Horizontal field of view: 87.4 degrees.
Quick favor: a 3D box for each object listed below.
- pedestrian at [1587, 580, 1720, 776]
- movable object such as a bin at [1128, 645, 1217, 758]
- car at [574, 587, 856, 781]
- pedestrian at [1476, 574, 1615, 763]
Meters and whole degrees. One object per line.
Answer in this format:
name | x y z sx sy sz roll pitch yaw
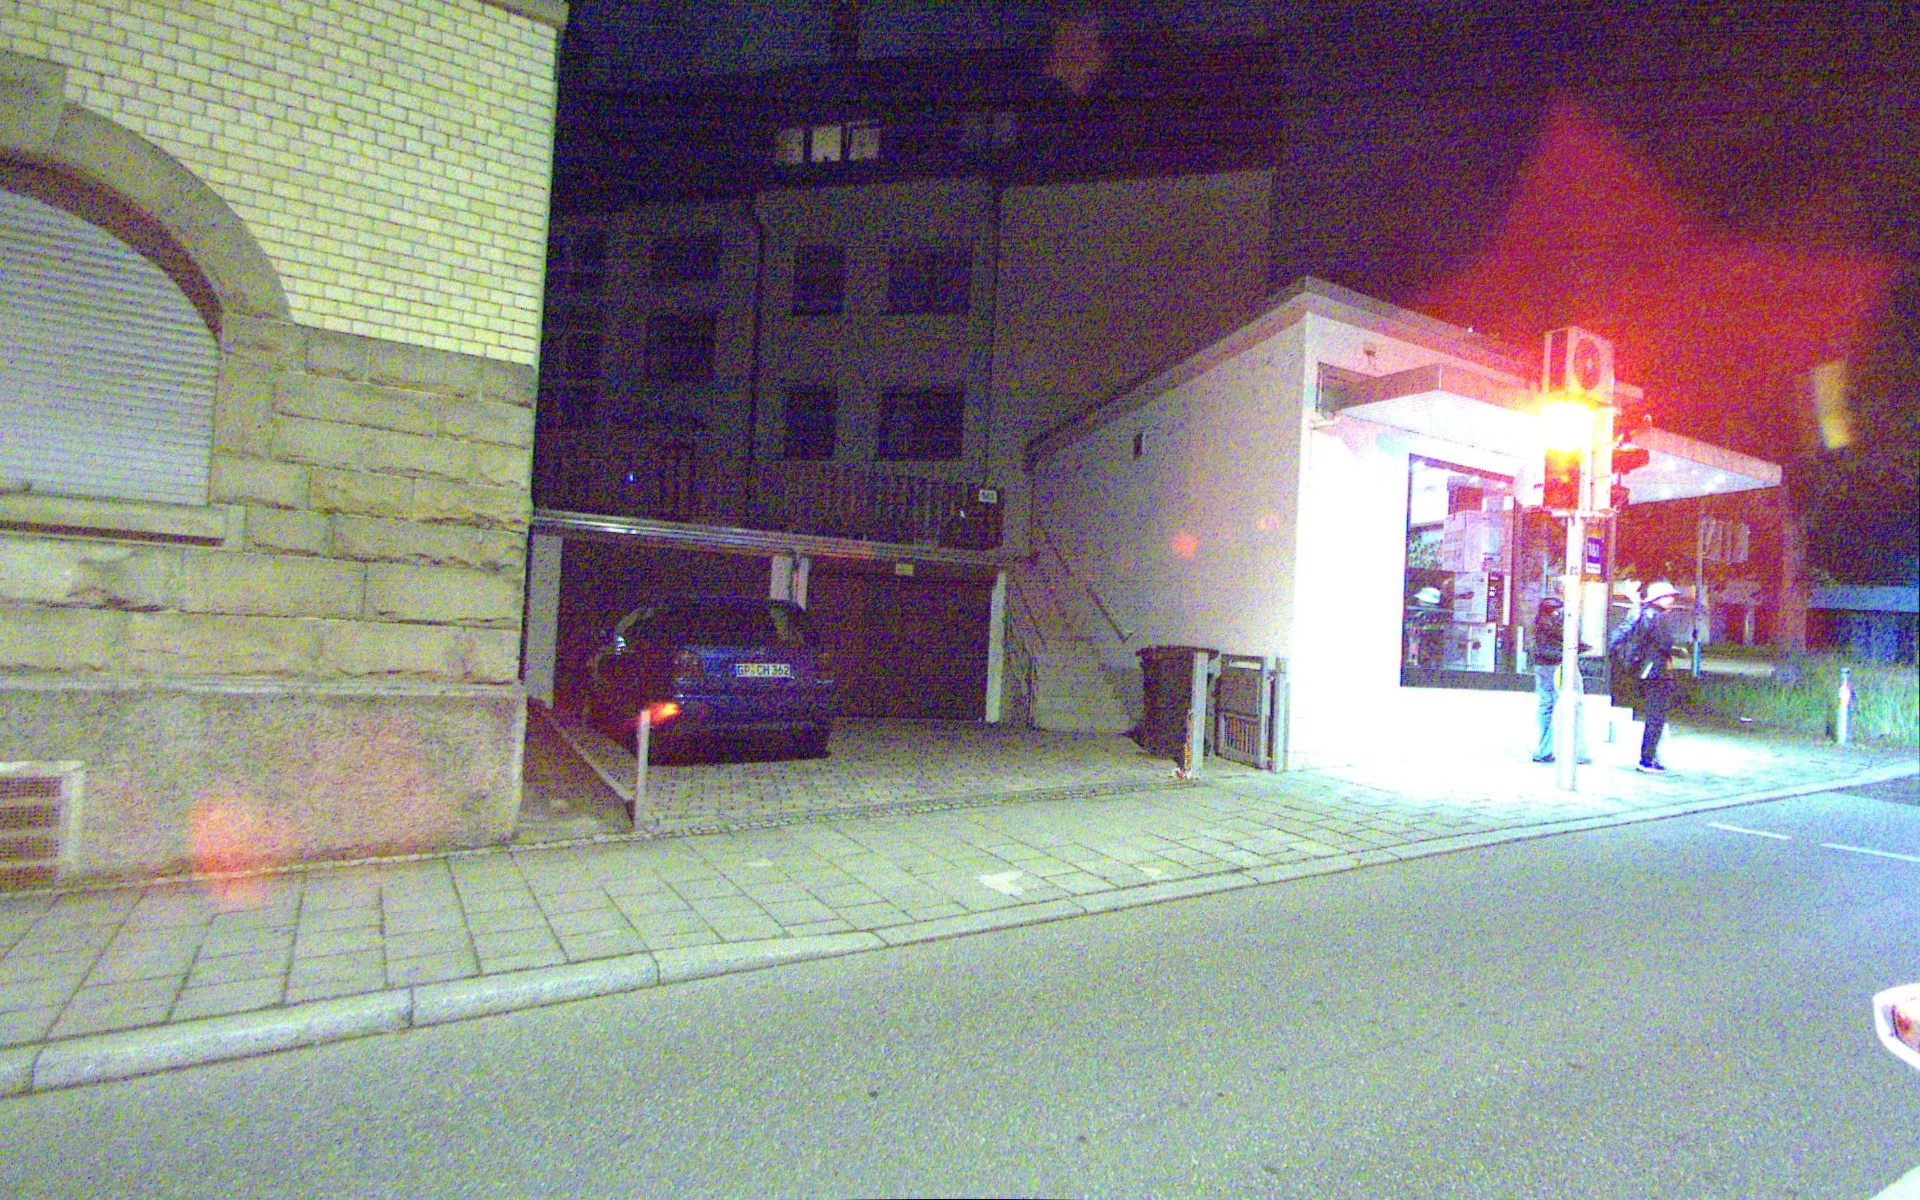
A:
pedestrian | 6.657 0.717 9.641 1.017 1.768 0.672 2 0 -31
movable object such as a bin | 2.111 0.997 10.031 0.643 1.063 0.639 2 0 -12
car | -2.458 0.650 9.501 1.655 1.470 3.341 2 -1 -31
pedestrian | 5.829 0.651 9.999 1.091 1.768 0.738 2 0 -31
